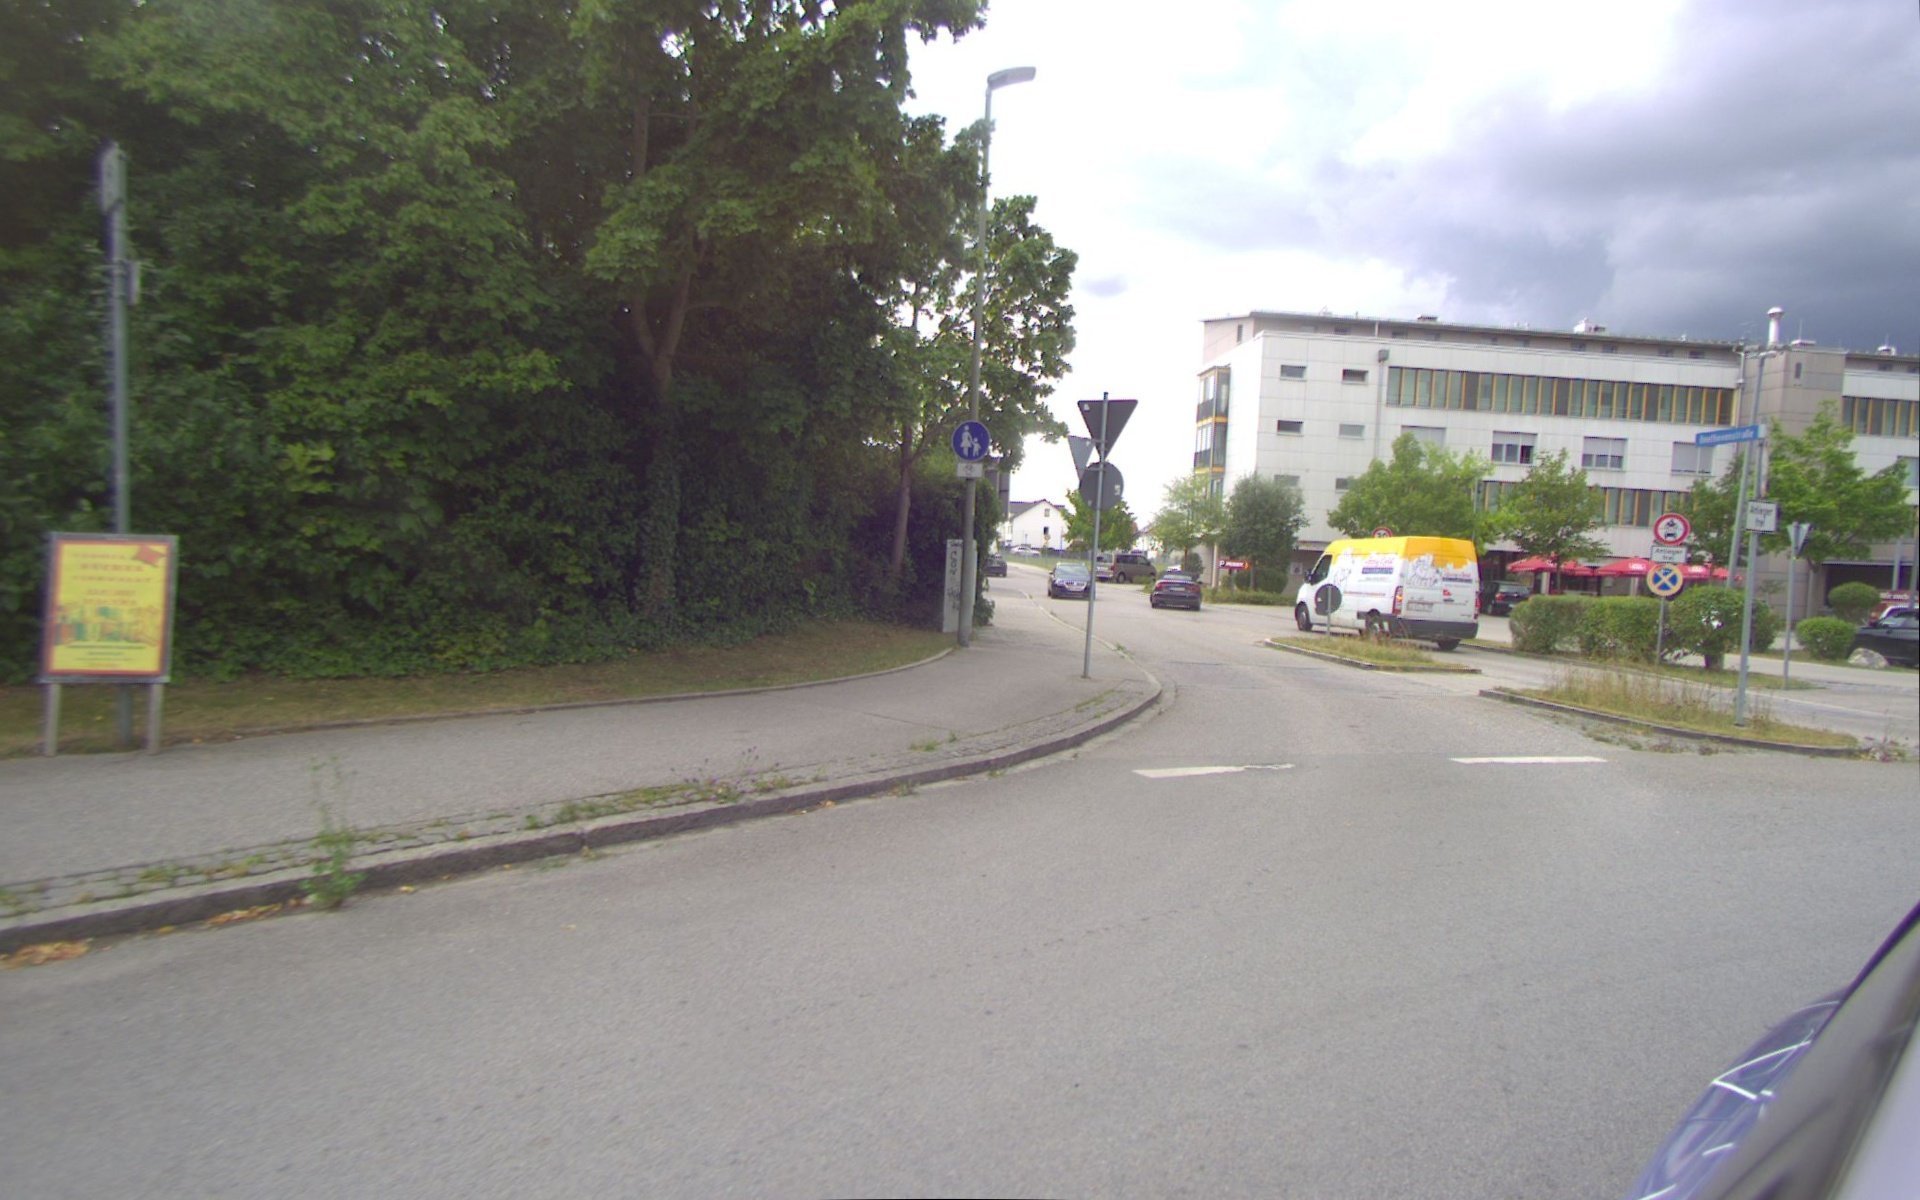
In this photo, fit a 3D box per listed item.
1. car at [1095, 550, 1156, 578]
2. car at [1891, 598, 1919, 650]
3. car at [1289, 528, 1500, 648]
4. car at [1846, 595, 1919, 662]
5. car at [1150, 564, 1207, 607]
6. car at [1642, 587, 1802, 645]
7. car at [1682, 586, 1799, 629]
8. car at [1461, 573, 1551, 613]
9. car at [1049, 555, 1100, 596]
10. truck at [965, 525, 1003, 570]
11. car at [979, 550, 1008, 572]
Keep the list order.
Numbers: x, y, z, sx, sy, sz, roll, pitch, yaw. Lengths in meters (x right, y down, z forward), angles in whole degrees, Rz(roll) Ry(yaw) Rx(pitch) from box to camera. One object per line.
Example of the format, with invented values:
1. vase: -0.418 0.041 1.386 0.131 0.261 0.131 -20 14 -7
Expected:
1. car: 10.911 -2.381 66.674 3.924 1.753 1.655 0 2 -36
2. car: 29.074 0.761 28.864 1.847 1.529 4.071 3 0 13
3. car: 10.287 -0.399 24.572 2.125 2.481 5.452 3 3 -7
4. car: 23.356 0.742 23.759 1.790 1.474 3.994 3 3 7
5. car: 7.943 -0.578 37.104 1.772 1.347 3.991 3 3 9
6. car: 22.436 0.417 30.004 1.788 1.475 3.997 3 1 3
7. car: 32.246 0.253 41.969 1.788 1.474 3.998 3 3 3
8. car: 23.548 -0.344 43.825 1.788 1.474 3.998 3 3 3
9. car: 4.693 -1.059 41.789 1.768 1.481 3.999 3 3 3
10. truck: 1.723 -3.784 74.180 2.126 3.114 5.417 2 2 -4
11. car: 2.207 -2.591 67.149 1.512 1.396 3.516 1 3 -4
